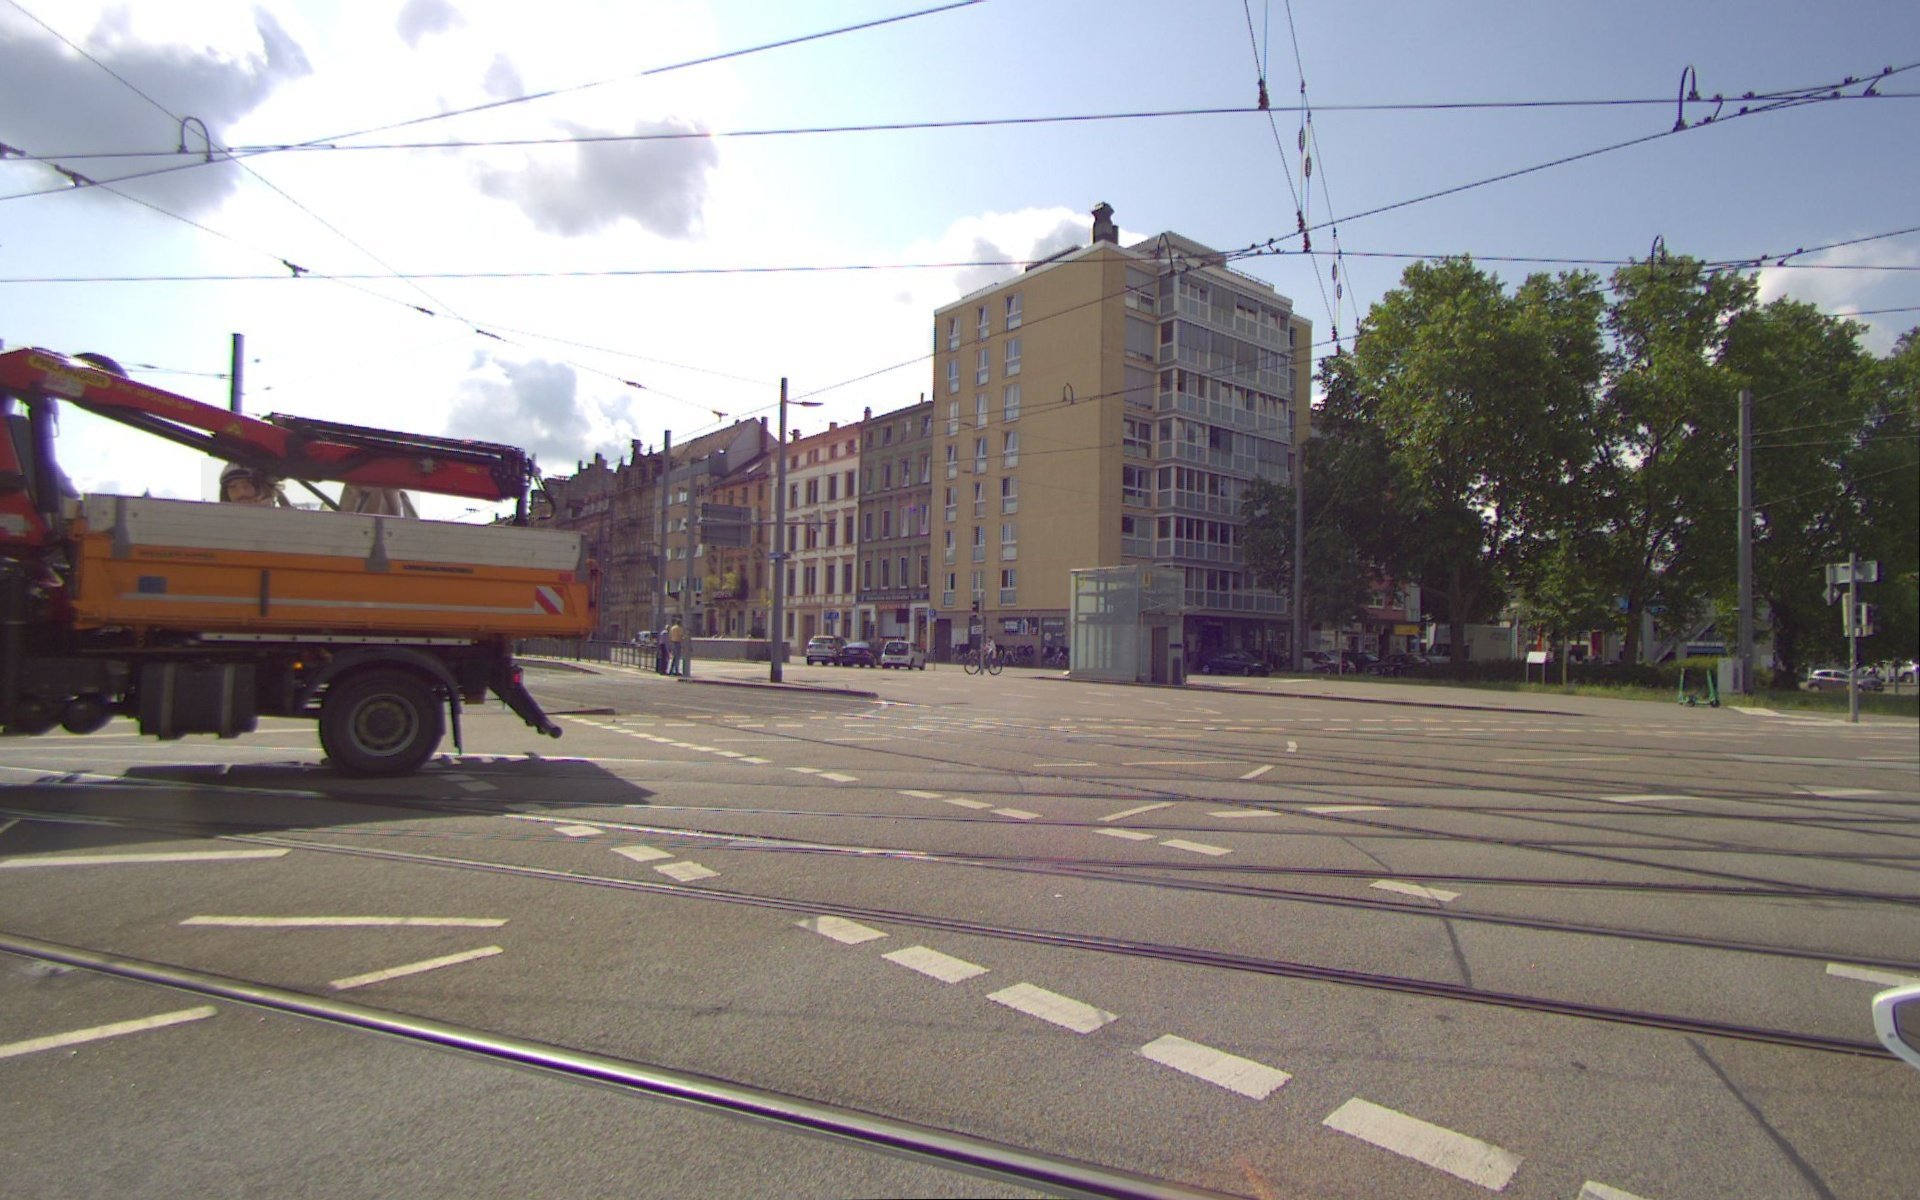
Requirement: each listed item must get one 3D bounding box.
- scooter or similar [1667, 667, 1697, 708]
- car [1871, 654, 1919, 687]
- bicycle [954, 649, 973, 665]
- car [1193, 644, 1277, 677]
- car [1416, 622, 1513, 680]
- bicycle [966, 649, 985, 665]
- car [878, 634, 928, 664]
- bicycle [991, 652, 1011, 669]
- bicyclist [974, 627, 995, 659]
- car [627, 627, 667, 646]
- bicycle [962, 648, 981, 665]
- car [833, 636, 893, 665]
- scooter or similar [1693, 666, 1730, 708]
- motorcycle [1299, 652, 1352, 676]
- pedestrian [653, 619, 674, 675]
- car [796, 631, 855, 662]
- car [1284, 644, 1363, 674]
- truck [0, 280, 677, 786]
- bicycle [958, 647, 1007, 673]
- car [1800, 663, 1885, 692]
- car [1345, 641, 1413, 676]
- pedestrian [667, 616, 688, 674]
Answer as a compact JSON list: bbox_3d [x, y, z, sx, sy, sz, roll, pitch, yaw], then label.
[{"bbox_3d":[22.485,2.711,31.281,0.374,1.212,1.065,2,-1,15],"label":"scooter or similar"},{"bbox_3d":[65.721,4.897,69.181,1.968,2.040,3.986,3,-1,-16],"label":"car"},{"bbox_3d":[0.224,3.457,61.244,0.291,0.934,1.447,3,-2,-40],"label":"bicycle"},{"bbox_3d":[14.461,3.156,53.001,1.793,1.534,4.050,1,-1,-39],"label":"car"},{"bbox_3d":[28.446,2.901,56.453,7.185,3.082,1.979,4,-3,-38],"label":"car"},{"bbox_3d":[0.942,3.477,61.574,0.291,0.934,1.447,3,-2,-40],"label":"bicycle"},{"bbox_3d":[-2.960,2.588,52.739,1.743,1.472,3.500,1,-4,12],"label":"car"},{"bbox_3d":[2.432,3.573,59.363,0.290,0.935,1.449,3,-1,-37],"label":"bicycle"},{"bbox_3d":[1.084,1.890,44.291,0.770,1.353,0.394,3,-1,-11],"label":"bicyclist"},{"bbox_3d":[-31.760,3.723,101.860,1.986,1.886,4.693,3,-4,-43],"label":"car"},{"bbox_3d":[0.700,3.460,61.370,0.291,0.934,1.447,3,-2,-40],"label":"bicycle"},{"bbox_3d":[-5.200,2.768,54.574,1.900,1.479,4.604,1,-3,12],"label":"car"},{"bbox_3d":[23.054,2.650,30.822,0.374,1.212,1.065,3,-1,5],"label":"scooter or similar"},{"bbox_3d":[17.477,3.070,48.037,2.247,1.043,0.976,1,-4,11],"label":"motorcycle"},{"bbox_3d":[-10.792,1.706,36.586,0.508,2.040,0.501,0,-3,40],"label":"pedestrian"},{"bbox_3d":[-7.598,2.643,57.116,2.020,1.669,4.600,1,-2,10],"label":"car"},{"bbox_3d":[21.698,3.509,60.089,1.794,1.534,4.049,3,-1,-39],"label":"car"},{"bbox_3d":[-7.272,-0.452,10.069,7.988,4.061,2.811,3,-3,-34],"label":"truck"},{"bbox_3d":[0.998,2.649,44.260,2.063,1.120,0.543,2,-2,-12],"label":"bicycle"},{"bbox_3d":[55.369,4.822,63.077,1.648,1.508,3.664,2,0,-21],"label":"car"},{"bbox_3d":[21.795,3.027,52.171,1.973,1.728,3.977,-1,-3,44],"label":"car"},{"bbox_3d":[-10.115,1.607,35.916,0.570,2.040,0.425,0,-3,41],"label":"pedestrian"}]
